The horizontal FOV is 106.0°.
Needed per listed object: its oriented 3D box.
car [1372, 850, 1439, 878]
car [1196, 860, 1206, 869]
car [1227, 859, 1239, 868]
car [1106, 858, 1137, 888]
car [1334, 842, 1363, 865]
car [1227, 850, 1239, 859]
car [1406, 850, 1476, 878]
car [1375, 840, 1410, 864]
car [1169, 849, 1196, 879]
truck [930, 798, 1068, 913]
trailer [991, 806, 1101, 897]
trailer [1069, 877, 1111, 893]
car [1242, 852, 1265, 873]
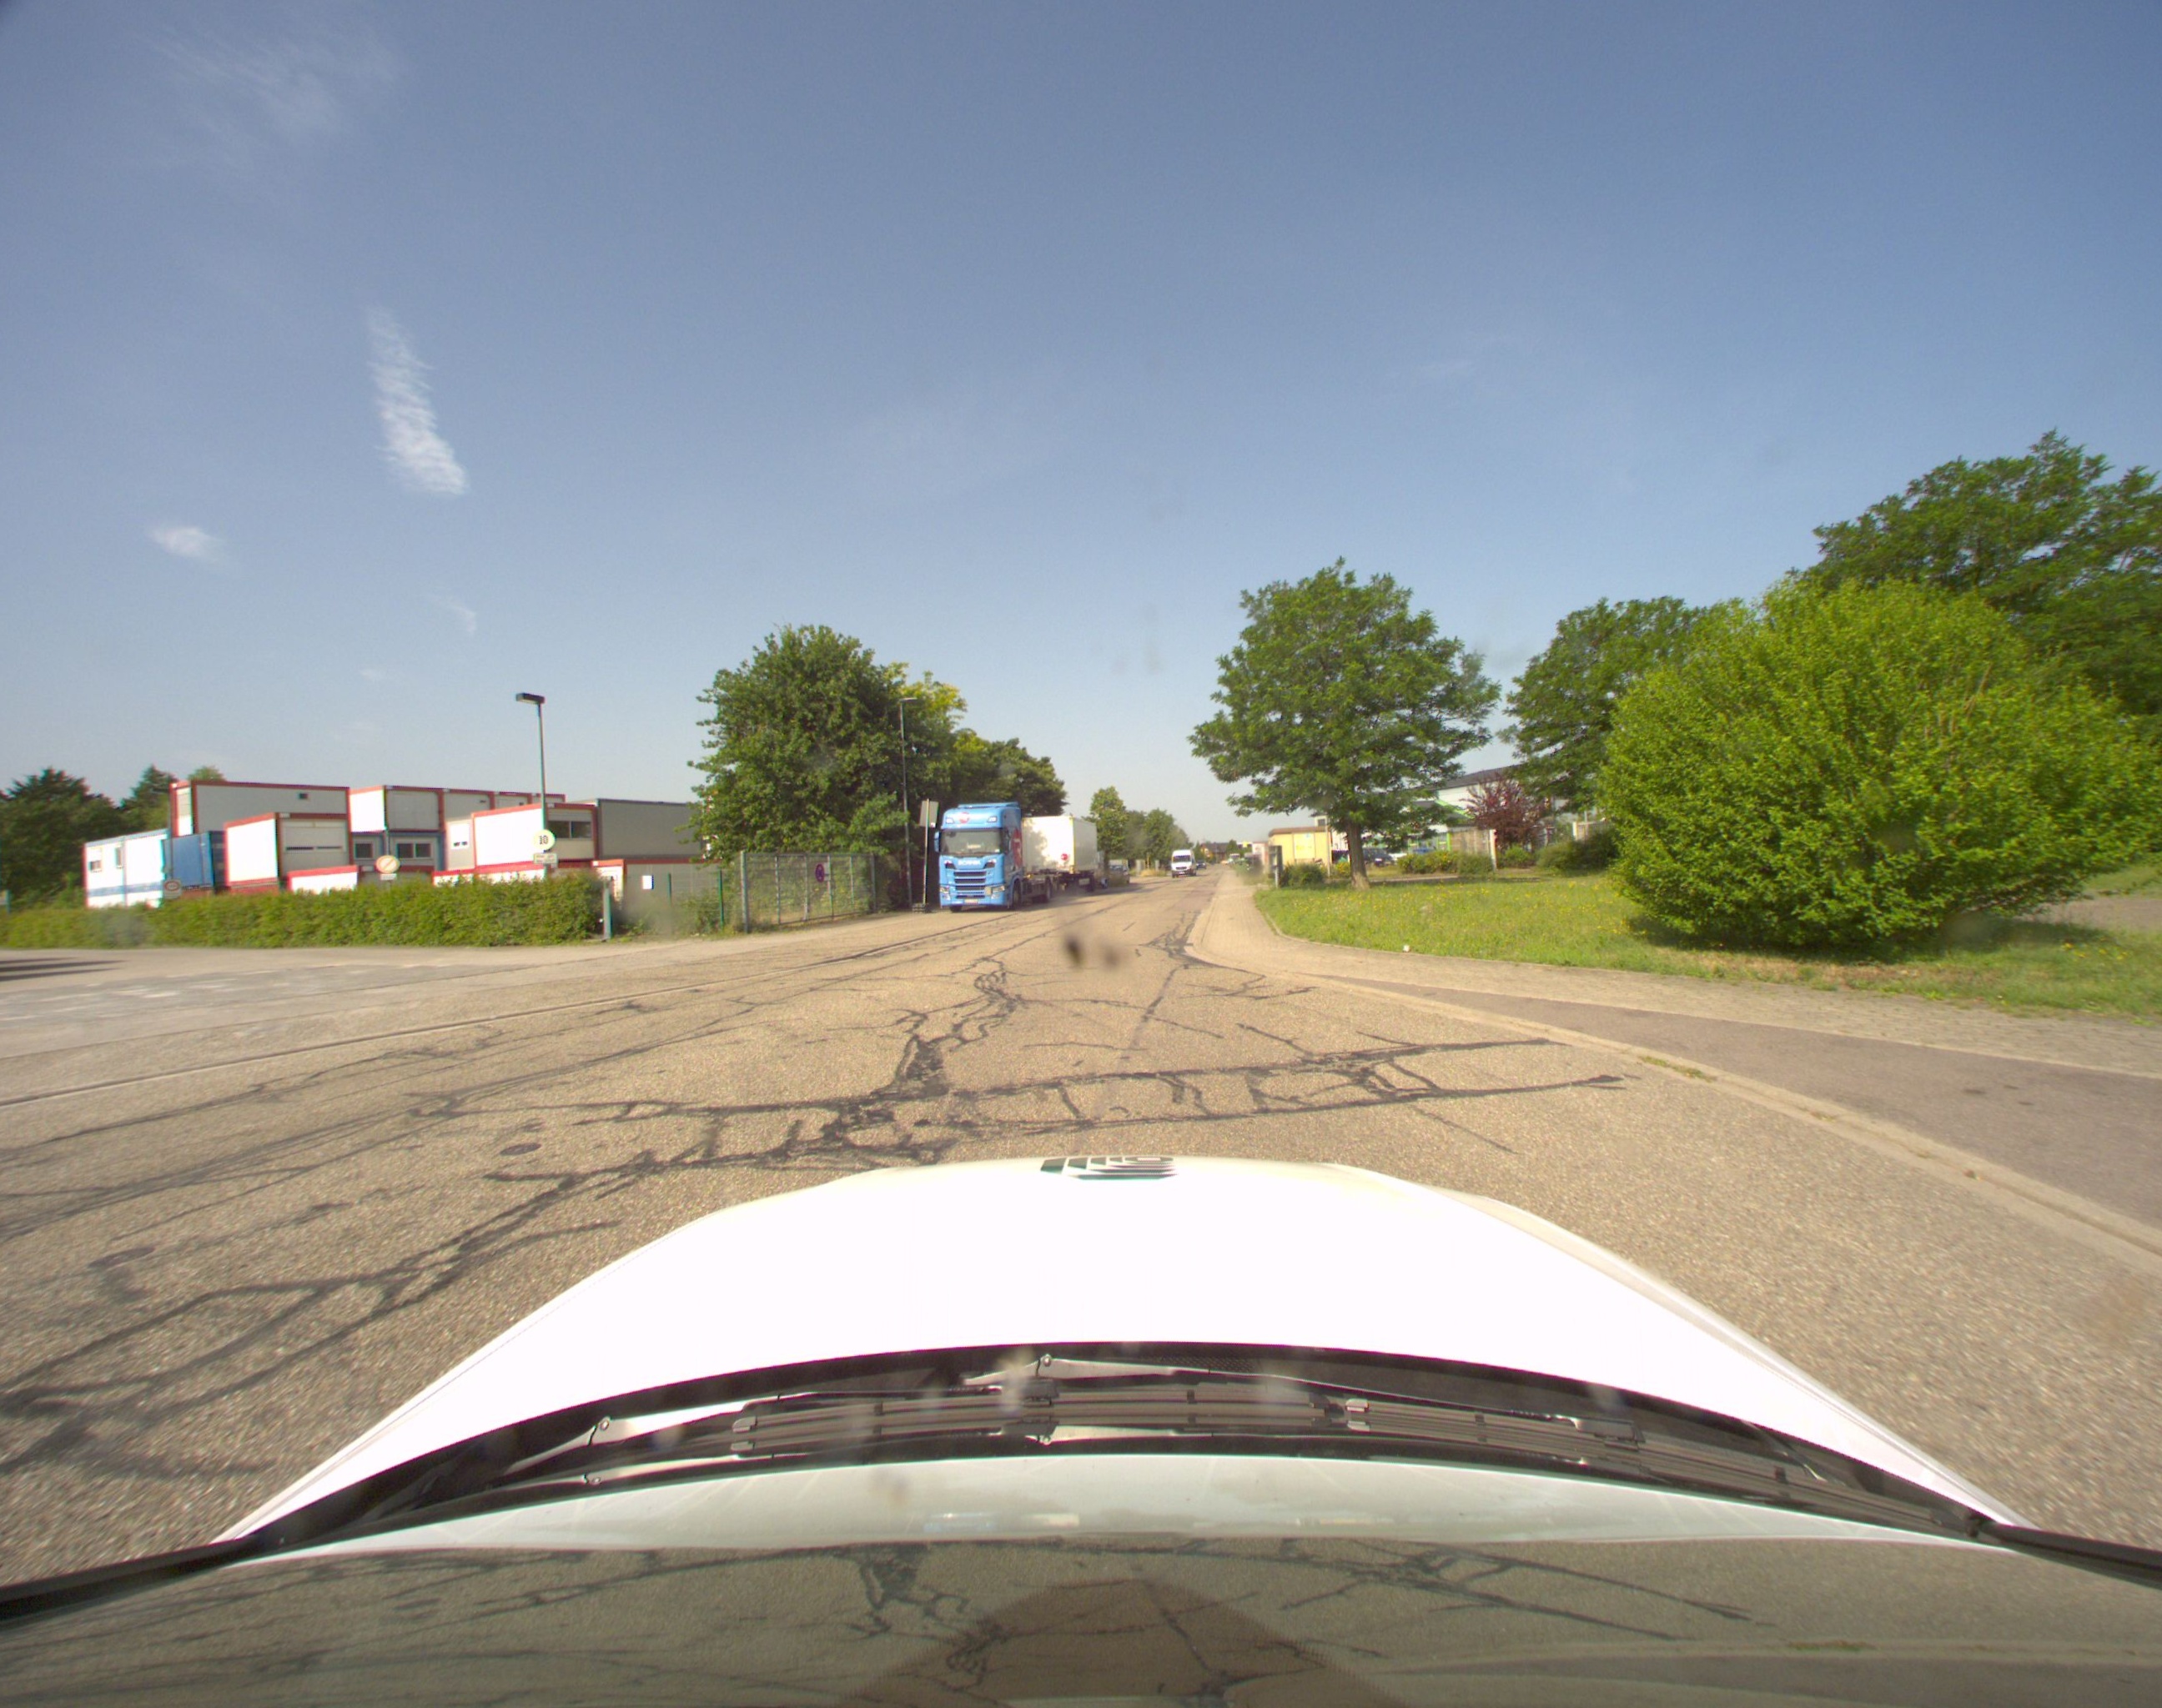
[{"bbox_3d":[16.644,0.541,41.926,1.666,1.330,3.655,-1,-1,-6],"label":"car"},{"bbox_3d":[22.874,2.019,155.124,1.632,1.662,4.005,-1,-1,5],"label":"car"},{"bbox_3d":[27.462,1.672,147.327,1.778,1.495,3.747,-1,-1,3],"label":"car"},{"bbox_3d":[2.821,1.328,57.755,1.987,2.014,4.000,-3,-1,1],"label":"car"},{"bbox_3d":[19.992,0.009,61.018,1.705,1.618,4.015,-1,-1,14],"label":"car"},{"bbox_3d":[31.801,0.140,170.239,1.765,1.815,4.000,-1,-1,1],"label":"car"},{"bbox_3d":[18.535,0.532,42.095,1.746,1.373,3.655,-1,-1,-6],"label":"car"},{"bbox_3d":[22.785,-0.131,59.691,1.780,1.640,4.012,-1,-1,11],"label":"car"},{"bbox_3d":[9.642,1.013,78.099,2.204,2.686,6.860,-1,-1,4],"label":"car"},{"bbox_3d":[-2.881,0.157,32.404,2.808,3.826,9.699,-1,-1,10],"label":"truck"},{"bbox_3d":[-1.349,0.017,40.676,2.813,3.843,12.069,-1,-1,10],"label":"trailer"},{"bbox_3d":[0.598,1.879,49.918,1.885,0.760,4.011,-3,-1,10],"label":"trailer"},{"bbox_3d":[14.852,0.754,70.194,1.781,1.750,4.010,-1,-1,10],"label":"car"}]
